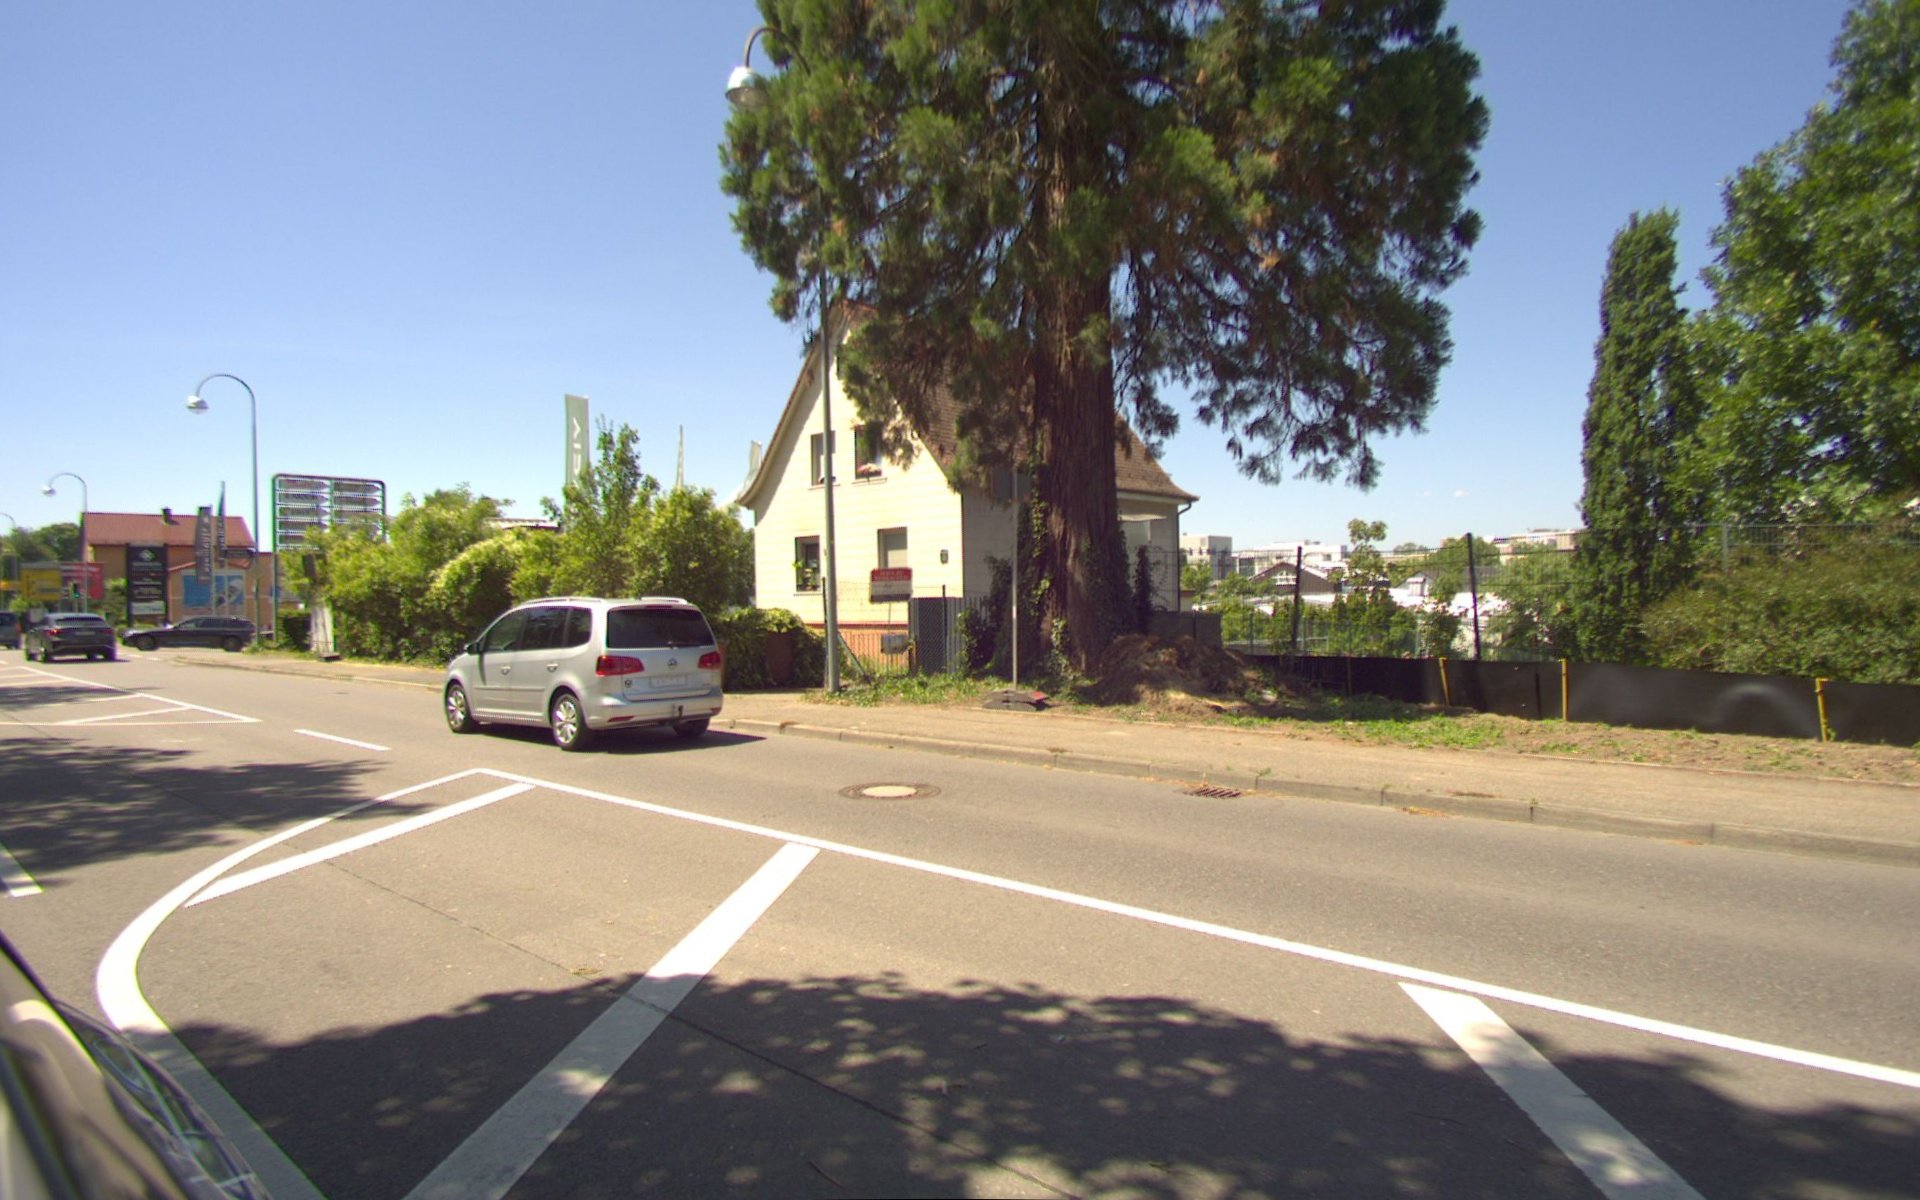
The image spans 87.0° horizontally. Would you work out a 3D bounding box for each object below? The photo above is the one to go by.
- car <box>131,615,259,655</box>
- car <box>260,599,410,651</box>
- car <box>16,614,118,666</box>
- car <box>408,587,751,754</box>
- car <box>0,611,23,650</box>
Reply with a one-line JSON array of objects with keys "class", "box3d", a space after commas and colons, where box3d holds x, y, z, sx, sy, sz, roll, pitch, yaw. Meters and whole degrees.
[{"class": "car", "box3d": [-33.091, 1.480, 43.924, 4.247, 1.561, 1.891, -1, 0, -31]}, {"class": "car", "box3d": [-28.985, 1.102, 47.053, 5.628, 2.145, 2.178, -2, 1, -41]}, {"class": "car", "box3d": [-29.230, 1.241, 33.071, 4.317, 1.561, 1.860, -1, 0, 40]}, {"class": "car", "box3d": [-4.734, 0.744, 12.242, 4.684, 1.657, 1.765, -1, -2, 39]}, {"class": "car", "box3d": [-44.315, 1.385, 46.212, 4.320, 1.754, 1.859, -1, 0, 42]}]
